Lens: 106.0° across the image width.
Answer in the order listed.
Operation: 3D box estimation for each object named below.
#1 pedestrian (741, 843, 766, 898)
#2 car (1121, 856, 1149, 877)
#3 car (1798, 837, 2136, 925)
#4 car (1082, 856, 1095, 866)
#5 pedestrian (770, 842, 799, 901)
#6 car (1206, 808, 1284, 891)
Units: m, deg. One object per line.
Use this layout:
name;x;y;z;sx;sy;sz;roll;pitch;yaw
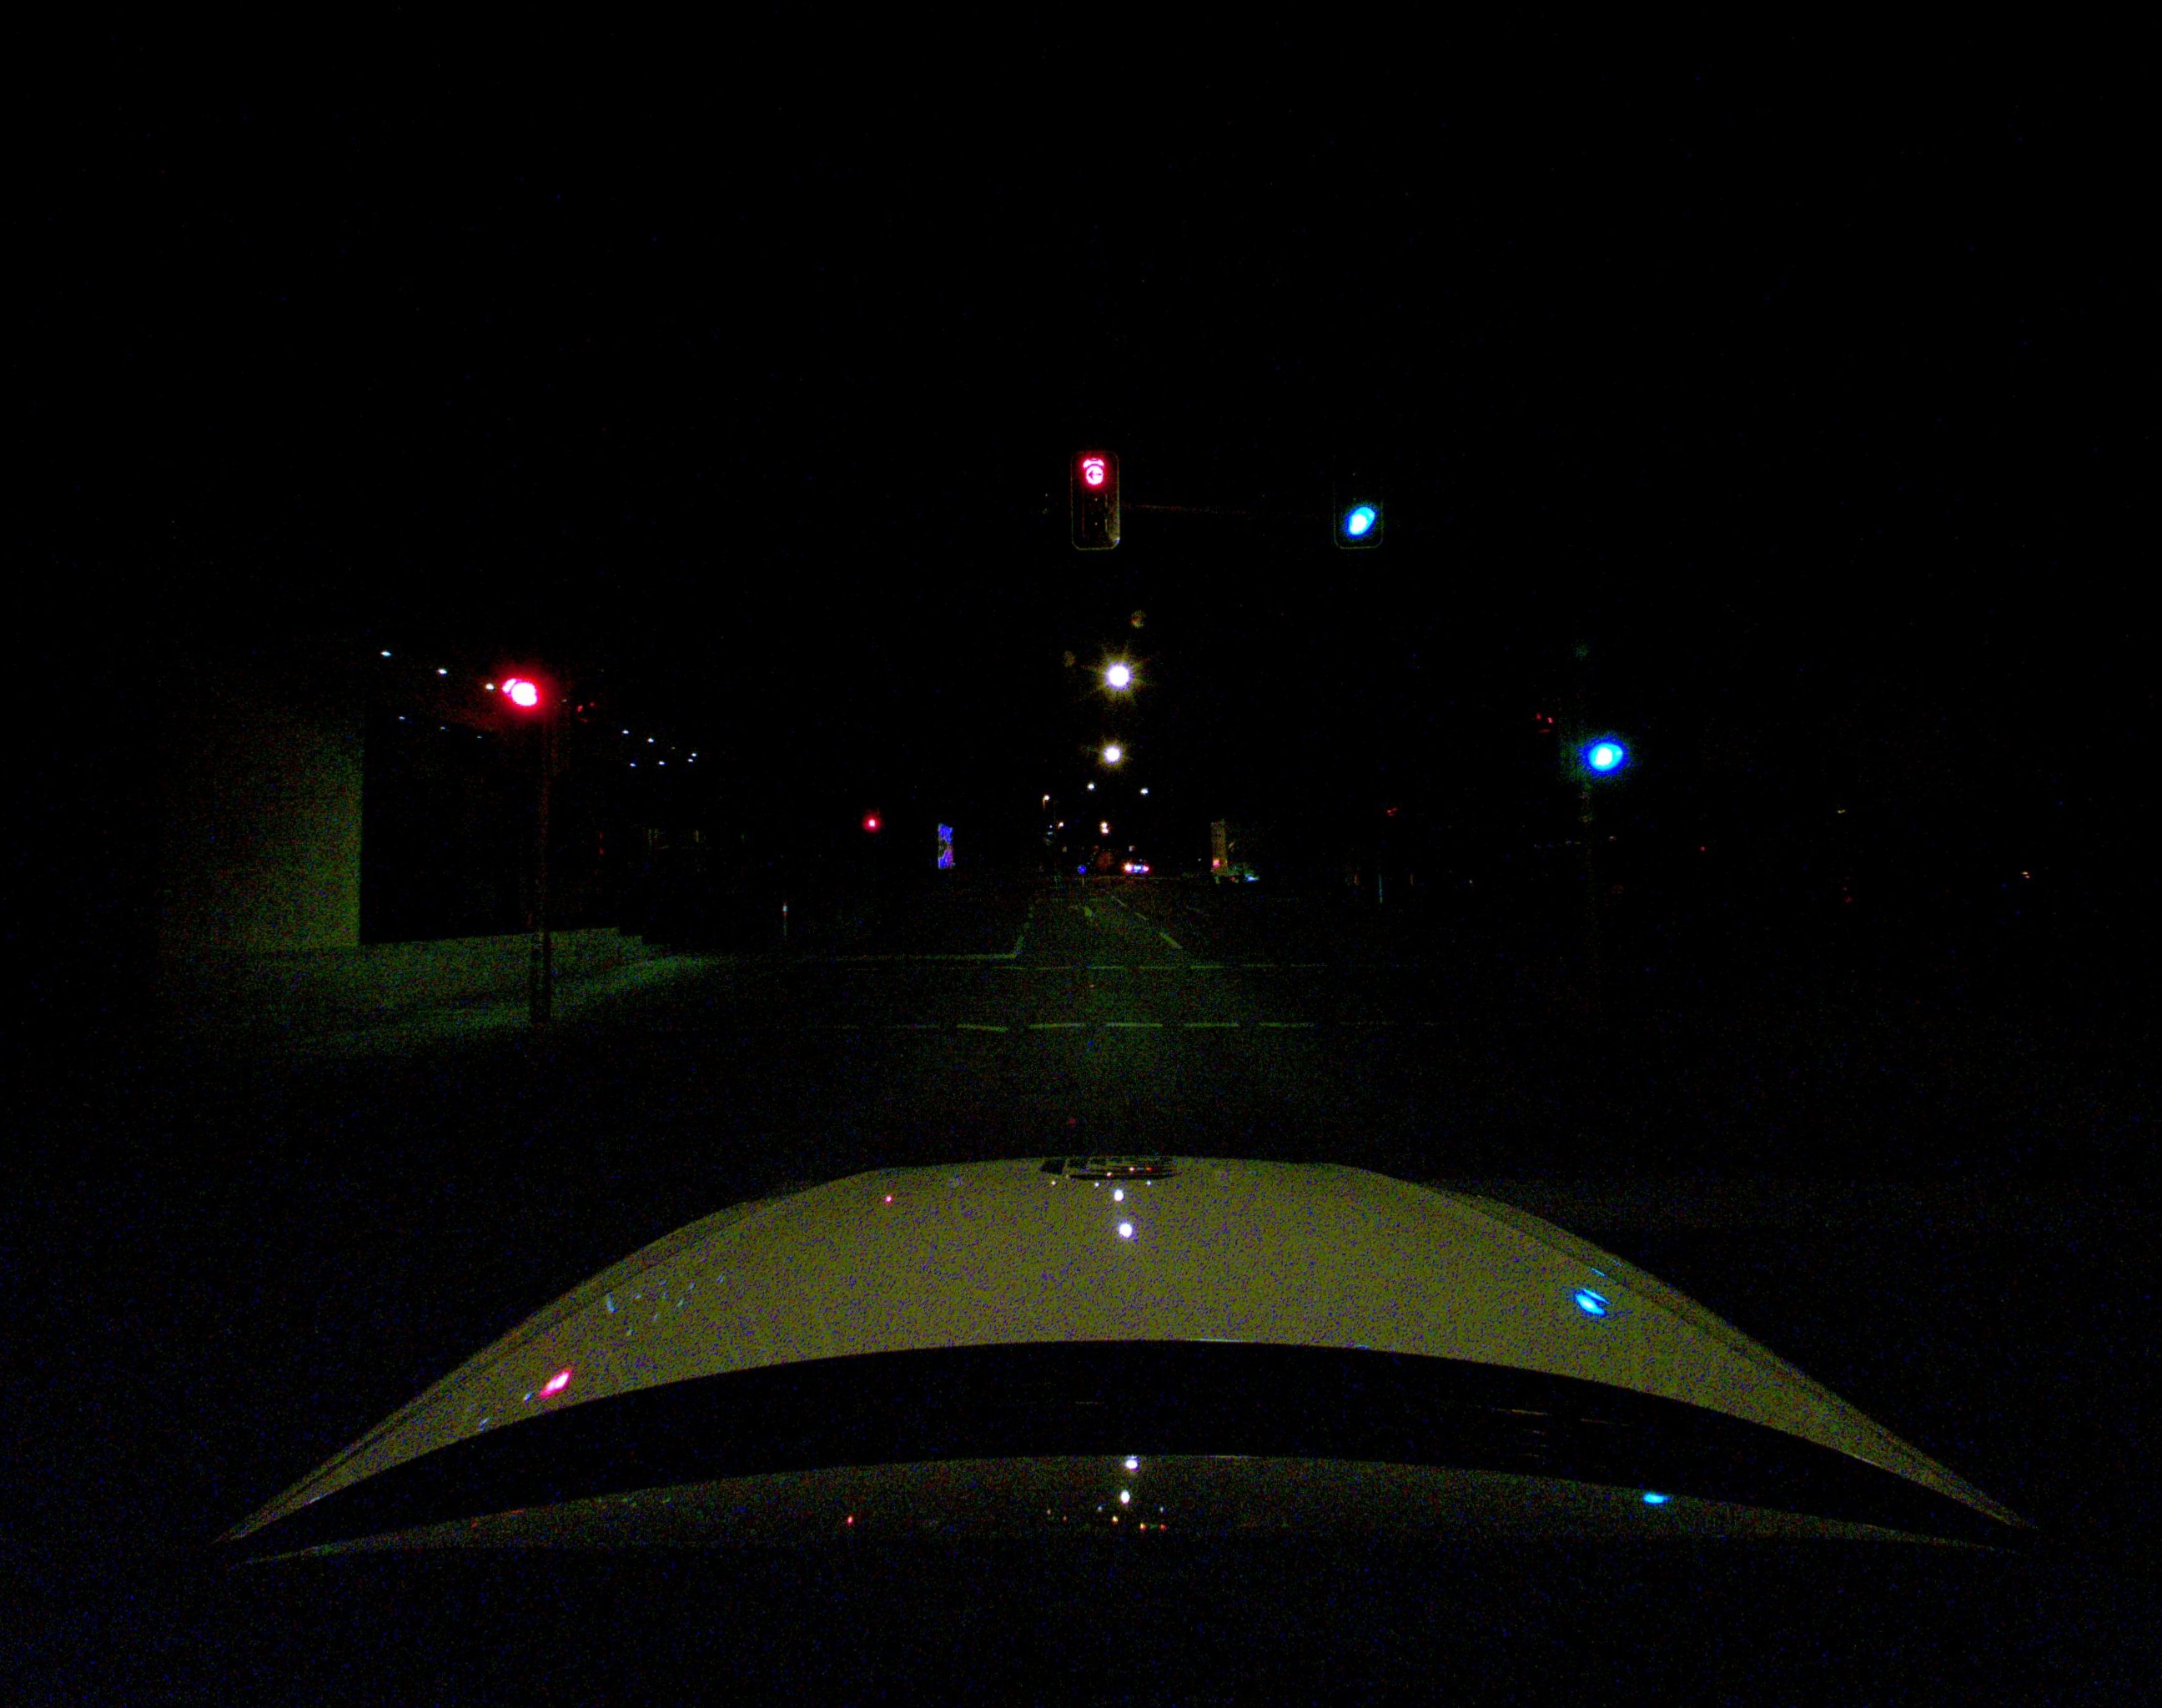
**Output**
pedestrian;-10.397;0.522;25.886;0.568;1.731;0.544;0;-1;1
car;3.973;0.913;60.545;1.770;1.486;3.999;0;-1;0
car;17.451;0.565;16.279;4.342;1.560;1.807;-2;-3;8
car;1.249;1.166;134.569;1.901;1.557;3.906;0;-1;2
pedestrian;-9.124;0.522;25.075;0.568;1.778;0.737;1;-1;1
car;6.755;-0.141;34.210;2.287;3.093;5.845;-2;-1;3
